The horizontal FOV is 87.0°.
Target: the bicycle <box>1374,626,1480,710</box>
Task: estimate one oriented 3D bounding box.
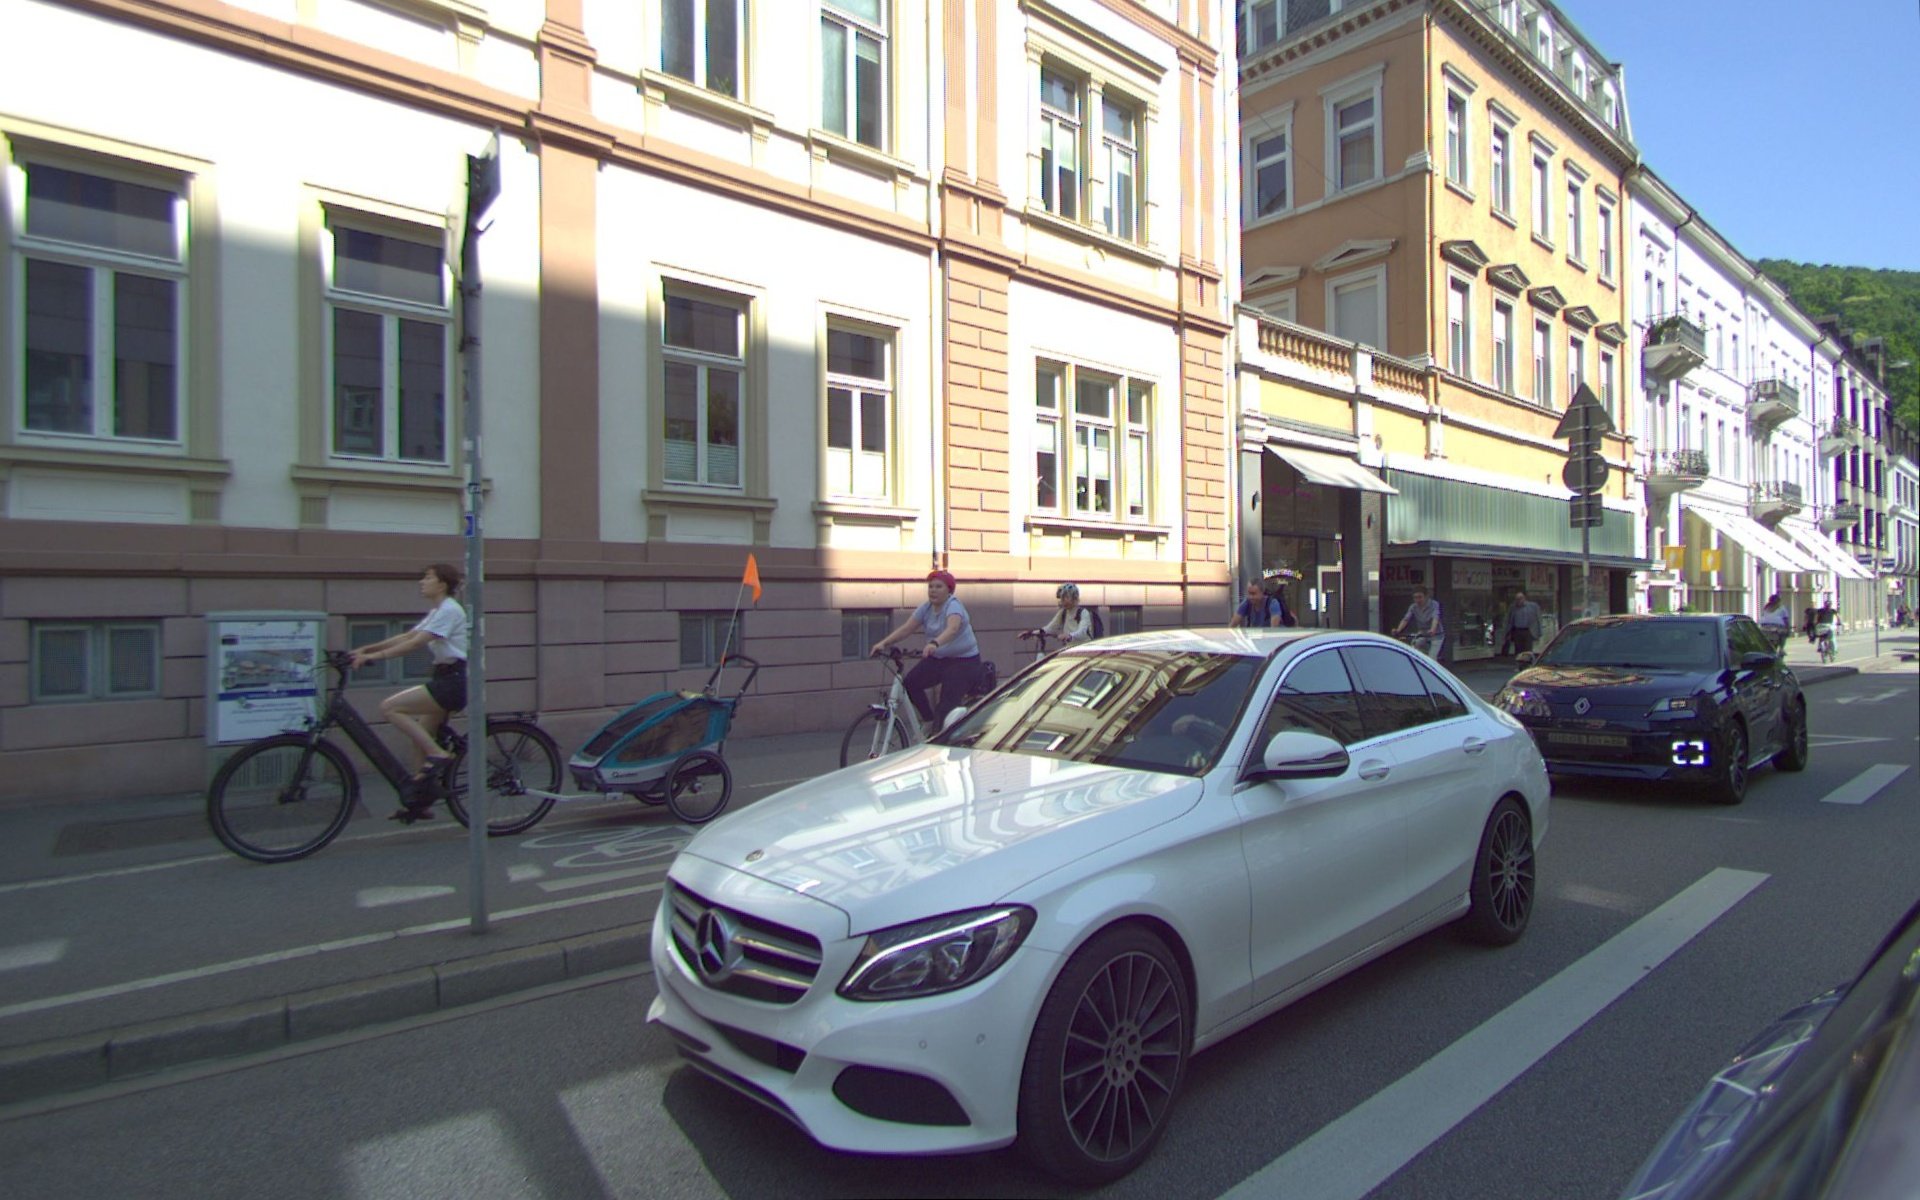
[{"bbox_3d":[6.959,0.970,15.043,1.885,1.132,0.747,1,-1,-42],"label":"bicycle"}]

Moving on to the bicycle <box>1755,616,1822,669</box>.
[{"bbox_3d":[20.022,1.001,24.433,2.527,1.141,0.743,-1,1,-39],"label":"bicycle"}]

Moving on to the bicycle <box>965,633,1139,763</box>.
[{"bbox_3d":[0.949,0.930,10.166,1.826,1.141,0.607,0,0,-39],"label":"bicycle"}]

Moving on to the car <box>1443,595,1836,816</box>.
[{"bbox_3d":[6.330,0.788,9.243,4.216,1.511,1.888,-1,-3,-41],"label":"car"}]

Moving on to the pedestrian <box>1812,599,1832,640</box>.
[{"bbox_3d":[35.286,0.792,41.421,0.853,1.690,0.482,1,-1,-41],"label":"pedestrian"}]

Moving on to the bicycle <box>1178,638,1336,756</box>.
[{"bbox_3d":[3.278,1.007,11.067,1.956,1.132,0.663,0,-1,-39],"label":"bicycle"}]

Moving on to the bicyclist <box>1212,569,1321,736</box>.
[{"bbox_3d":[3.382,0.545,11.190,0.829,1.739,0.840,0,0,-40],"label":"bicyclist"}]

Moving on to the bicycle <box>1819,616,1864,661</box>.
[{"bbox_3d":[24.392,1.037,27.999,2.056,1.141,0.596,-1,1,-39],"label":"bicycle"}]

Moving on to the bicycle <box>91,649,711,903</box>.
[{"bbox_3d":[-3.179,0.913,6.189,3.181,1.141,0.750,1,0,-39],"label":"bicycle"}]

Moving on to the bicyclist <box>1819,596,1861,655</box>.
[{"bbox_3d":[24.296,0.690,27.940,0.829,1.593,0.747,0,0,-40],"label":"bicyclist"}]

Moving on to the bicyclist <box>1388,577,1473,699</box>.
[{"bbox_3d":[6.998,0.541,15.052,0.830,1.739,0.909,0,0,-43],"label":"bicyclist"}]

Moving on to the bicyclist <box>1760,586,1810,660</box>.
[{"bbox_3d":[19.748,0.529,24.224,1.017,1.724,0.747,0,0,-40],"label":"bicyclist"}]

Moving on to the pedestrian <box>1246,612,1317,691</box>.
[{"bbox_3d":[5.661,0.878,17.825,0.614,1.333,1.031,1,0,-41],"label":"pedestrian"}]

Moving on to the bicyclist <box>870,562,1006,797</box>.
[{"bbox_3d":[-0.174,0.585,8.006,0.829,1.739,0.684,0,0,-40],"label":"bicyclist"}]

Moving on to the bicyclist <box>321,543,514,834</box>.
[{"bbox_3d":[-3.273,0.496,6.105,0.829,1.593,0.747,3,-2,-40],"label":"bicyclist"}]

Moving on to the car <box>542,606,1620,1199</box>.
[{"bbox_3d":[0.967,0.786,4.414,4.801,1.443,1.954,0,-3,-41],"label":"car"}]

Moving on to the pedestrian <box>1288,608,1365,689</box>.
[{"bbox_3d":[6.475,0.841,17.895,0.614,1.332,1.088,1,2,-41],"label":"pedestrian"}]

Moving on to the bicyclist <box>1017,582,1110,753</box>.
[{"bbox_3d":[1.051,0.648,10.241,0.829,1.657,0.516,0,0,-40],"label":"bicyclist"}]

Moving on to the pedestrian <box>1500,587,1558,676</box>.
[{"bbox_3d":[11.914,0.641,21.200,0.754,1.814,0.840,0,0,-39],"label":"pedestrian"}]

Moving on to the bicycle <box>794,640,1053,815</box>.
[{"bbox_3d":[-0.244,0.922,7.976,1.997,1.141,0.737,0,1,-39],"label":"bicycle"}]
